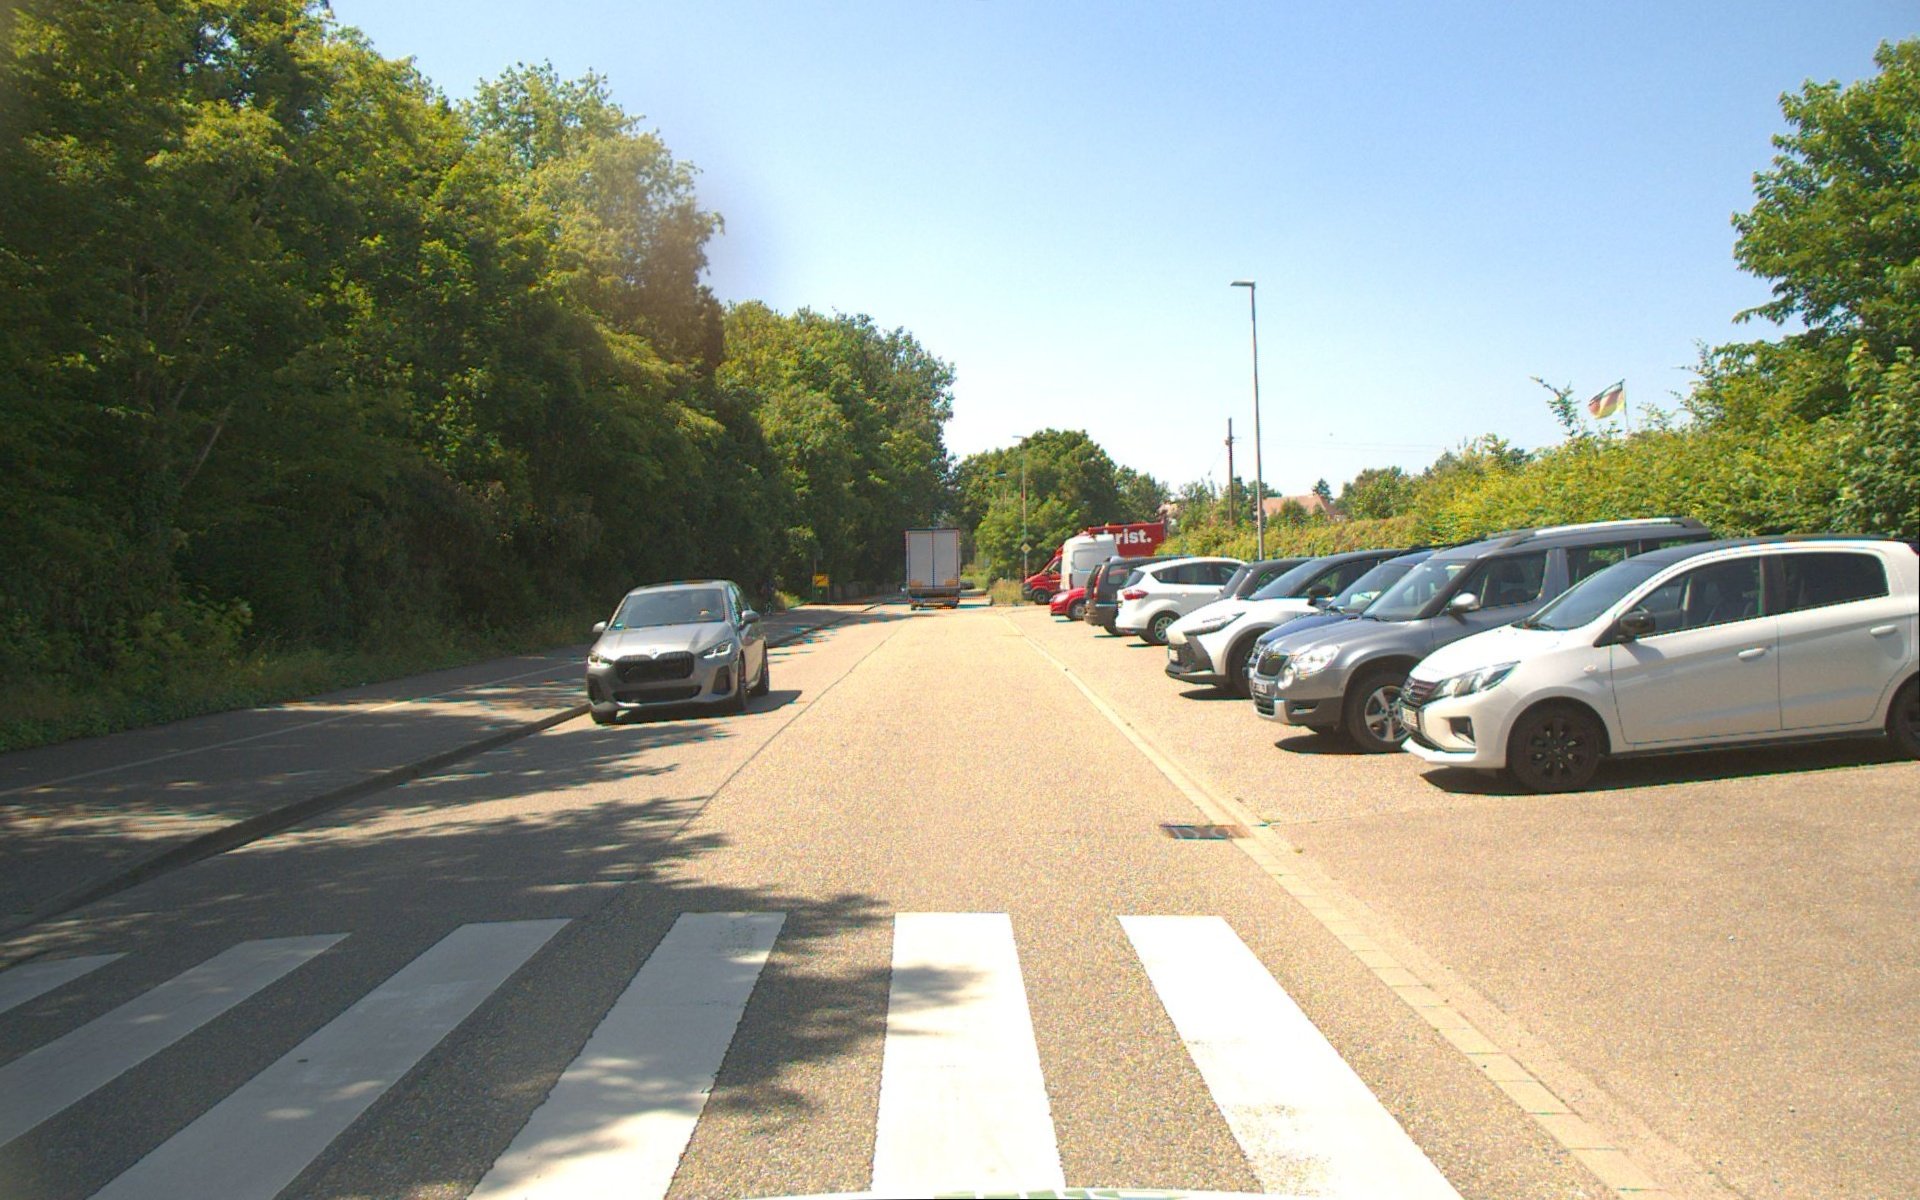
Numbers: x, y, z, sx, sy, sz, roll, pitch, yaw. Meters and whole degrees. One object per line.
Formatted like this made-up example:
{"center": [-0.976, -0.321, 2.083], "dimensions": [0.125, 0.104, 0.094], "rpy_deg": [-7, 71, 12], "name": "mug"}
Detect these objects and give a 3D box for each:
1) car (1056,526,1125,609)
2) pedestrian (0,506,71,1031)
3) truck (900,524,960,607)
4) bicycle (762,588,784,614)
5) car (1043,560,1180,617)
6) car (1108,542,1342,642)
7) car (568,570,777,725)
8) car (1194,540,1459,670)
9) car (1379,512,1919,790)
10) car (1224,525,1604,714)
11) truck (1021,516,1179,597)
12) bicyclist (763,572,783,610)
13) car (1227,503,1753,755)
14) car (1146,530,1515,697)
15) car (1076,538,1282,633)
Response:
{"center": [4.817, -1.231, 62.068], "dimensions": [1.914, 2.780, 7.168], "rpy_deg": [-4, 1, 1], "name": "car"}
{"center": [-4.052, 0.638, 6.044], "dimensions": [1.063, 1.896, 0.782], "rpy_deg": [-5, 0, -9], "name": "pedestrian"}
{"center": [-1.389, -1.698, 83.194], "dimensions": [2.677, 3.811, 13.246], "rpy_deg": [-1, 1, 0], "name": "truck"}
{"center": [-7.916, 0.024, 70.053], "dimensions": [0.549, 1.045, 1.840], "rpy_deg": [-2, 1, 4], "name": "bicycle"}
{"center": [4.697, -0.378, 51.574], "dimensions": [3.974, 1.458, 1.835], "rpy_deg": [-4, 1, -3], "name": "car"}
{"center": [5.153, -0.172, 32.506], "dimensions": [4.191, 1.605, 1.765], "rpy_deg": [-4, 1, -3], "name": "car"}
{"center": [-3.451, 0.491, 20.641], "dimensions": [1.853, 1.558, 4.195], "rpy_deg": [-6, 1, -2], "name": "car"}
{"center": [5.040, 0.044, 23.053], "dimensions": [3.317, 1.529, 1.589], "rpy_deg": [-4, 1, 2], "name": "car"}
{"center": [4.921, 0.301, 11.375], "dimensions": [3.613, 1.475, 1.611], "rpy_deg": [-5, 1, 3], "name": "car"}
{"center": [4.652, 0.174, 17.183], "dimensions": [3.387, 1.553, 1.538], "rpy_deg": [-5, 1, -6], "name": "car"}
{"center": [6.468, -2.000, 76.151], "dimensions": [6.984, 3.500, 2.332], "rpy_deg": [-1, 2, 10], "name": "truck"}
{"center": [-7.921, -0.378, 70.083], "dimensions": [0.635, 1.592, 0.837], "rpy_deg": [-2, 1, 4], "name": "bicyclist"}
{"center": [4.471, 0.208, 14.250], "dimensions": [3.885, 1.668, 1.662], "rpy_deg": [-6, 1, -6], "name": "car"}
{"center": [4.413, 0.132, 20.047], "dimensions": [3.888, 1.549, 1.862], "rpy_deg": [-6, 1, -6], "name": "car"}
{"center": [5.080, -0.337, 38.716], "dimensions": [4.367, 1.836, 1.951], "rpy_deg": [-4, 0, -5], "name": "car"}
